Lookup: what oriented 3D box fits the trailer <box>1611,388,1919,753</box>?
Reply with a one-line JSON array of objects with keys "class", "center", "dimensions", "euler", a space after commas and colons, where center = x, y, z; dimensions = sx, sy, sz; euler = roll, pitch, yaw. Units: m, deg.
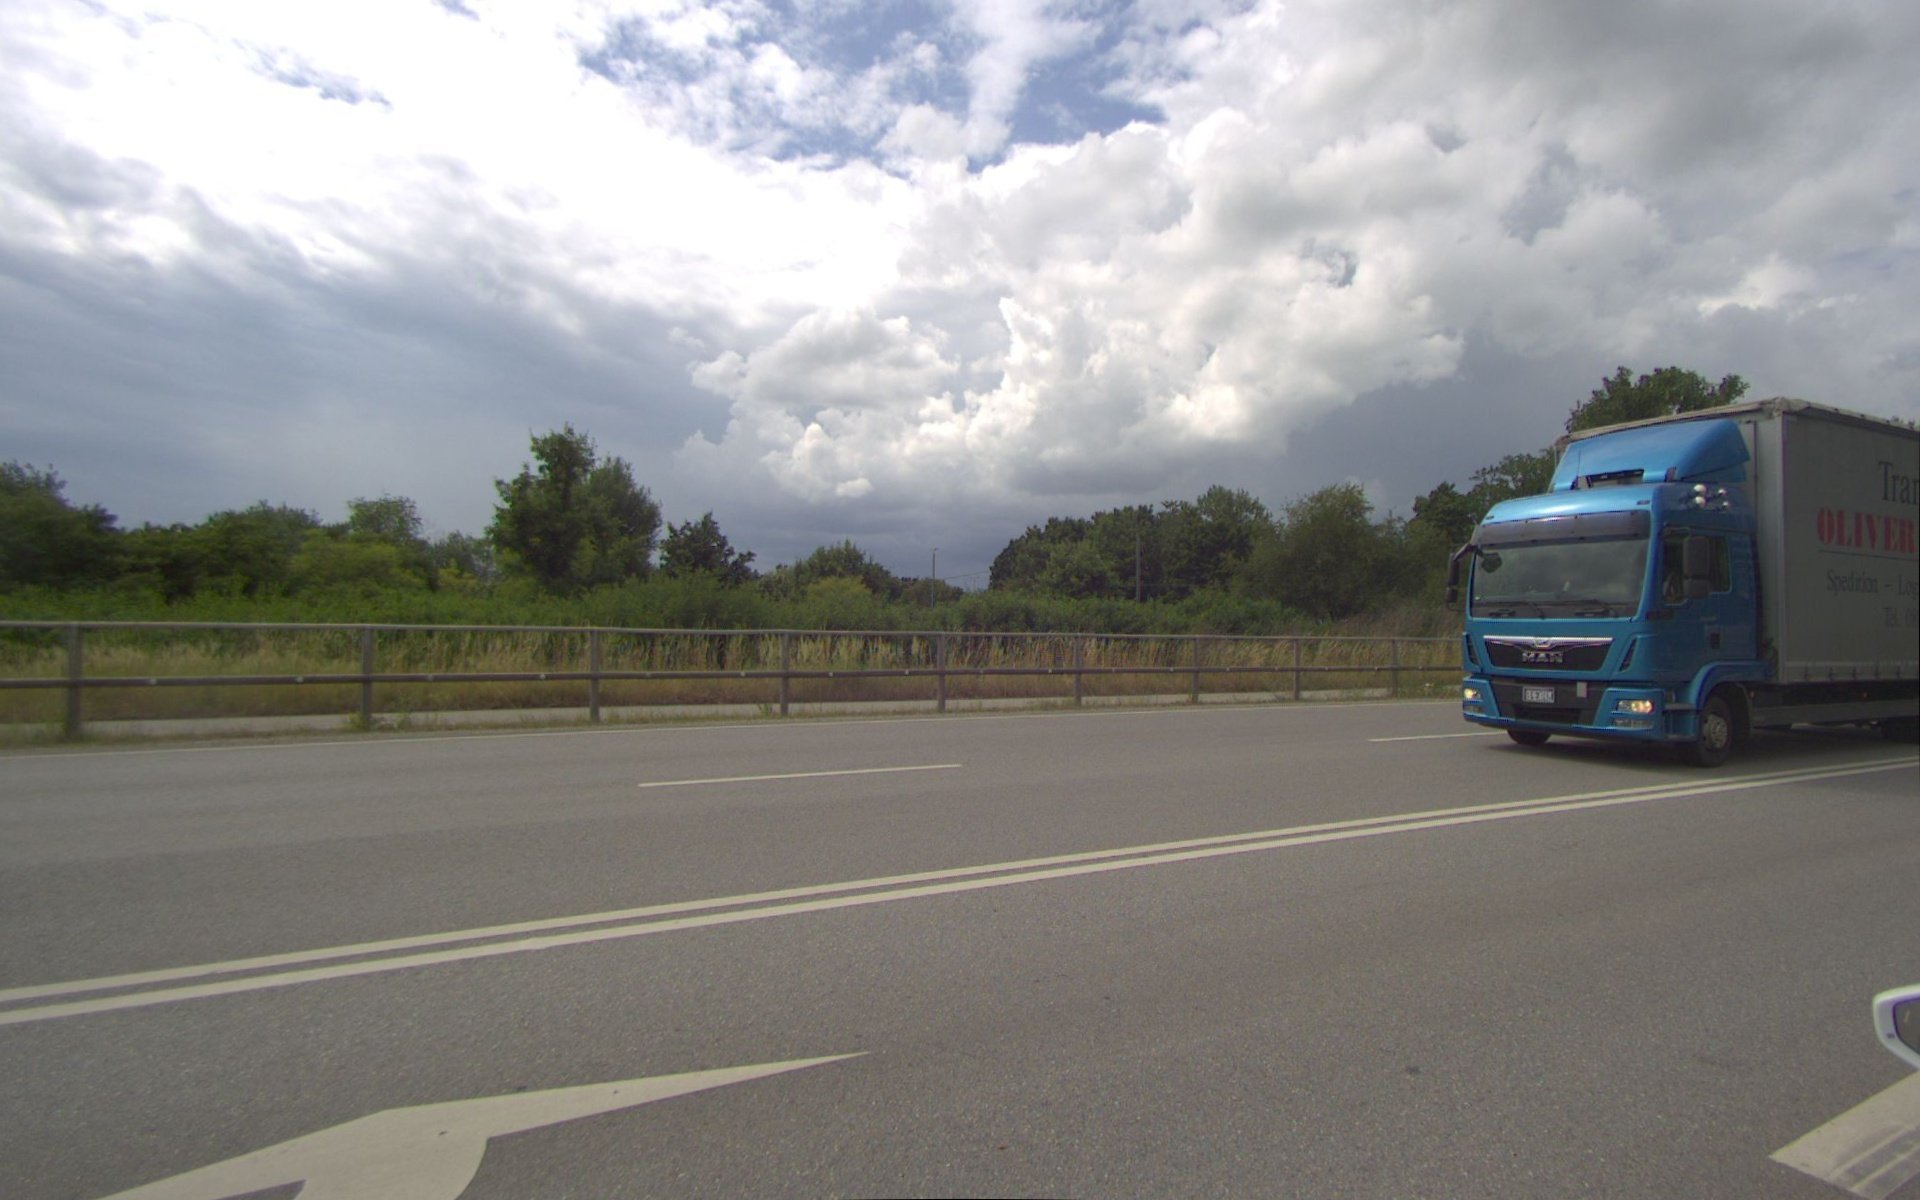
[{"class": "trailer", "center": [12.387, -0.240, 14.121], "dimensions": [6.650, 4.155, 2.517], "euler": [2, -1, -28]}]

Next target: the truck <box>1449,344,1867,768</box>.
[{"class": "truck", "center": [8.216, -0.370, 11.876], "dimensions": [3.950, 4.150, 2.530], "euler": [2, -1, -28]}]
